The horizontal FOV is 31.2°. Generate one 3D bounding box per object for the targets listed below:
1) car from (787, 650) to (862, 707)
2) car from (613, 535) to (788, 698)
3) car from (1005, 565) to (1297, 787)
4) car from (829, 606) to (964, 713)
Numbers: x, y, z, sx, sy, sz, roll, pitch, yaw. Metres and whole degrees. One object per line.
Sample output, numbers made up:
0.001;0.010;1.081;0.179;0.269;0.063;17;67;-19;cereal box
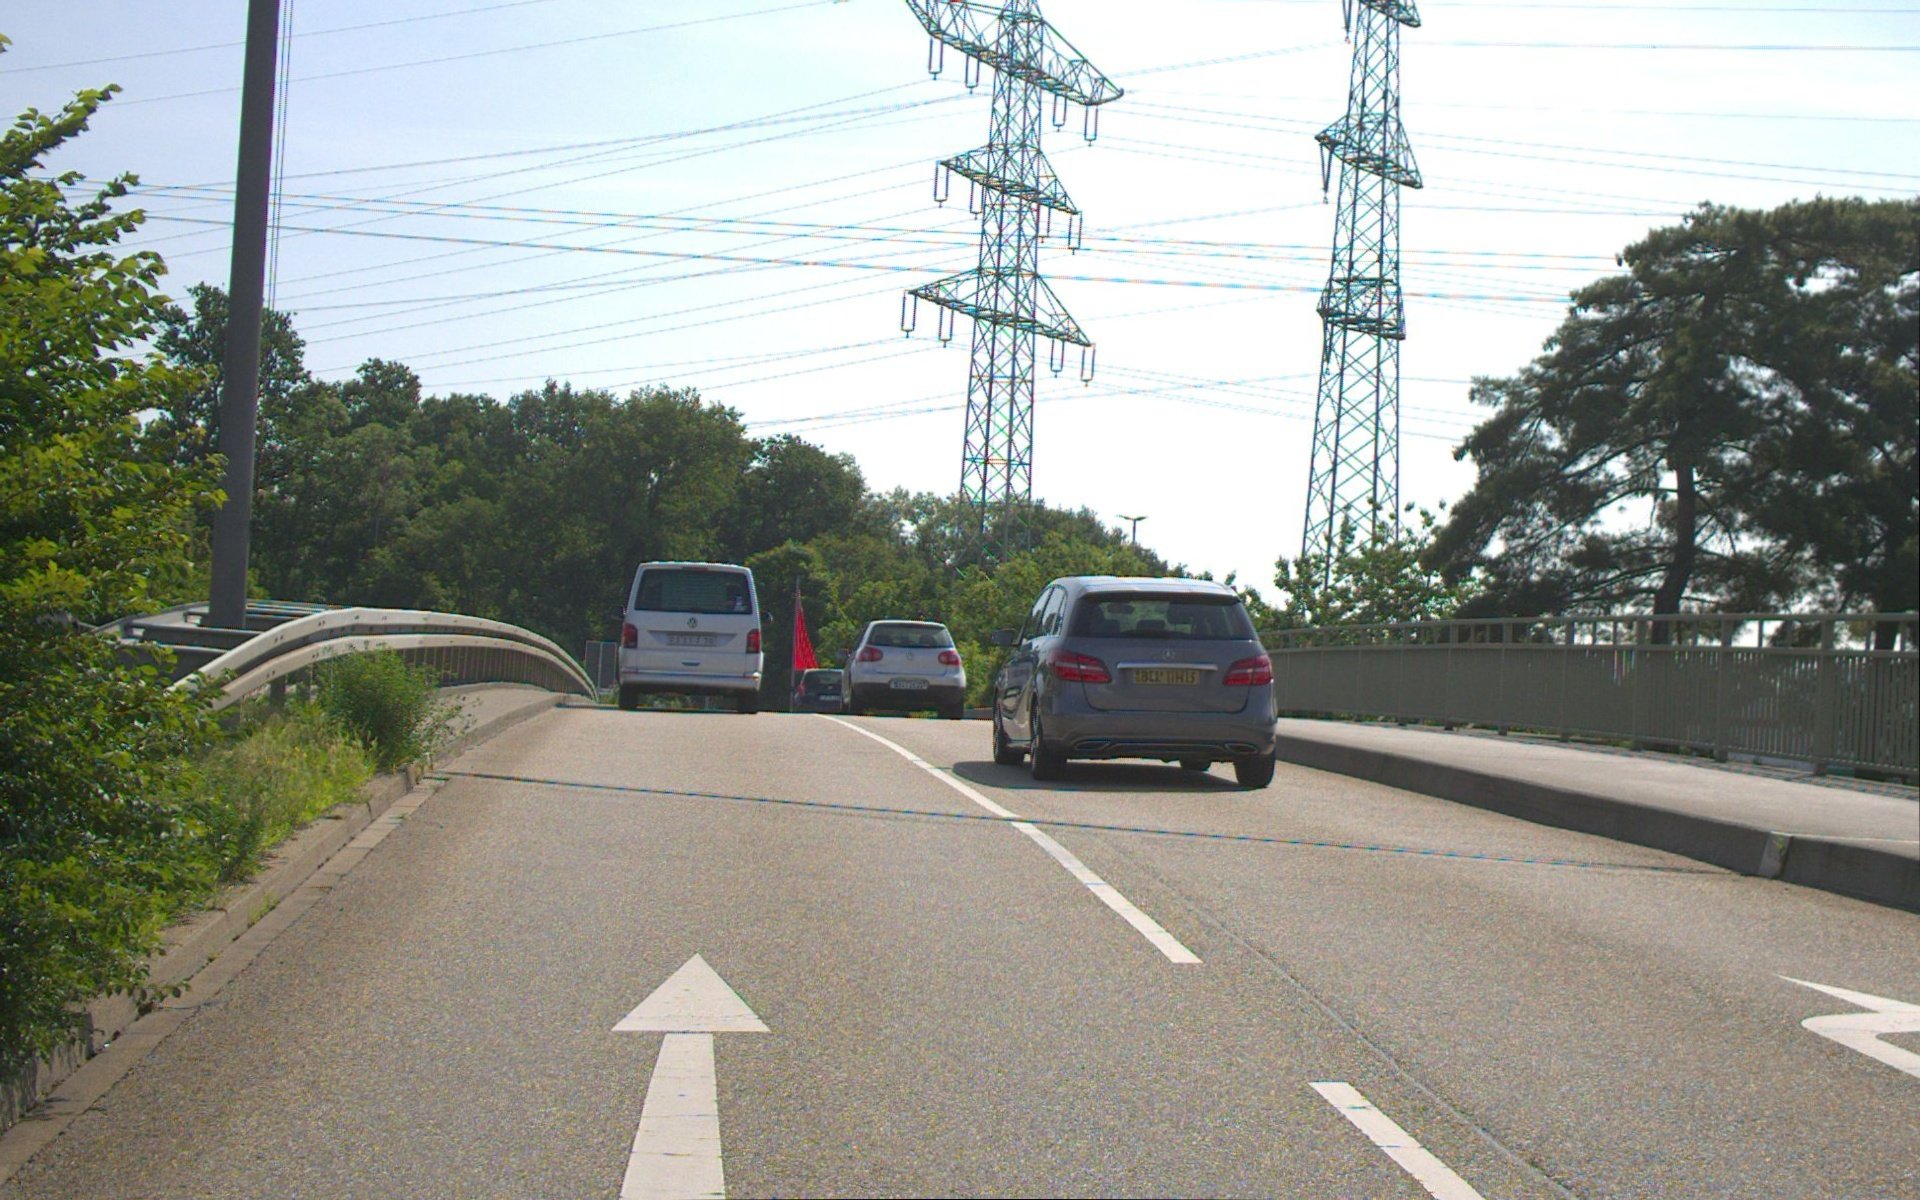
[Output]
-3.365;1.945;85.105;1.773;1.327;3.740;1;-2;-2;car
-3.446;0.199;46.327;2.039;2.007;4.000;3;0;-1;car
1.390;0.534;26.552;1.856;1.524;4.144;2;0;-2;car
-1.009;0.916;52.653;1.856;1.524;4.144;2;-1;-3;car
